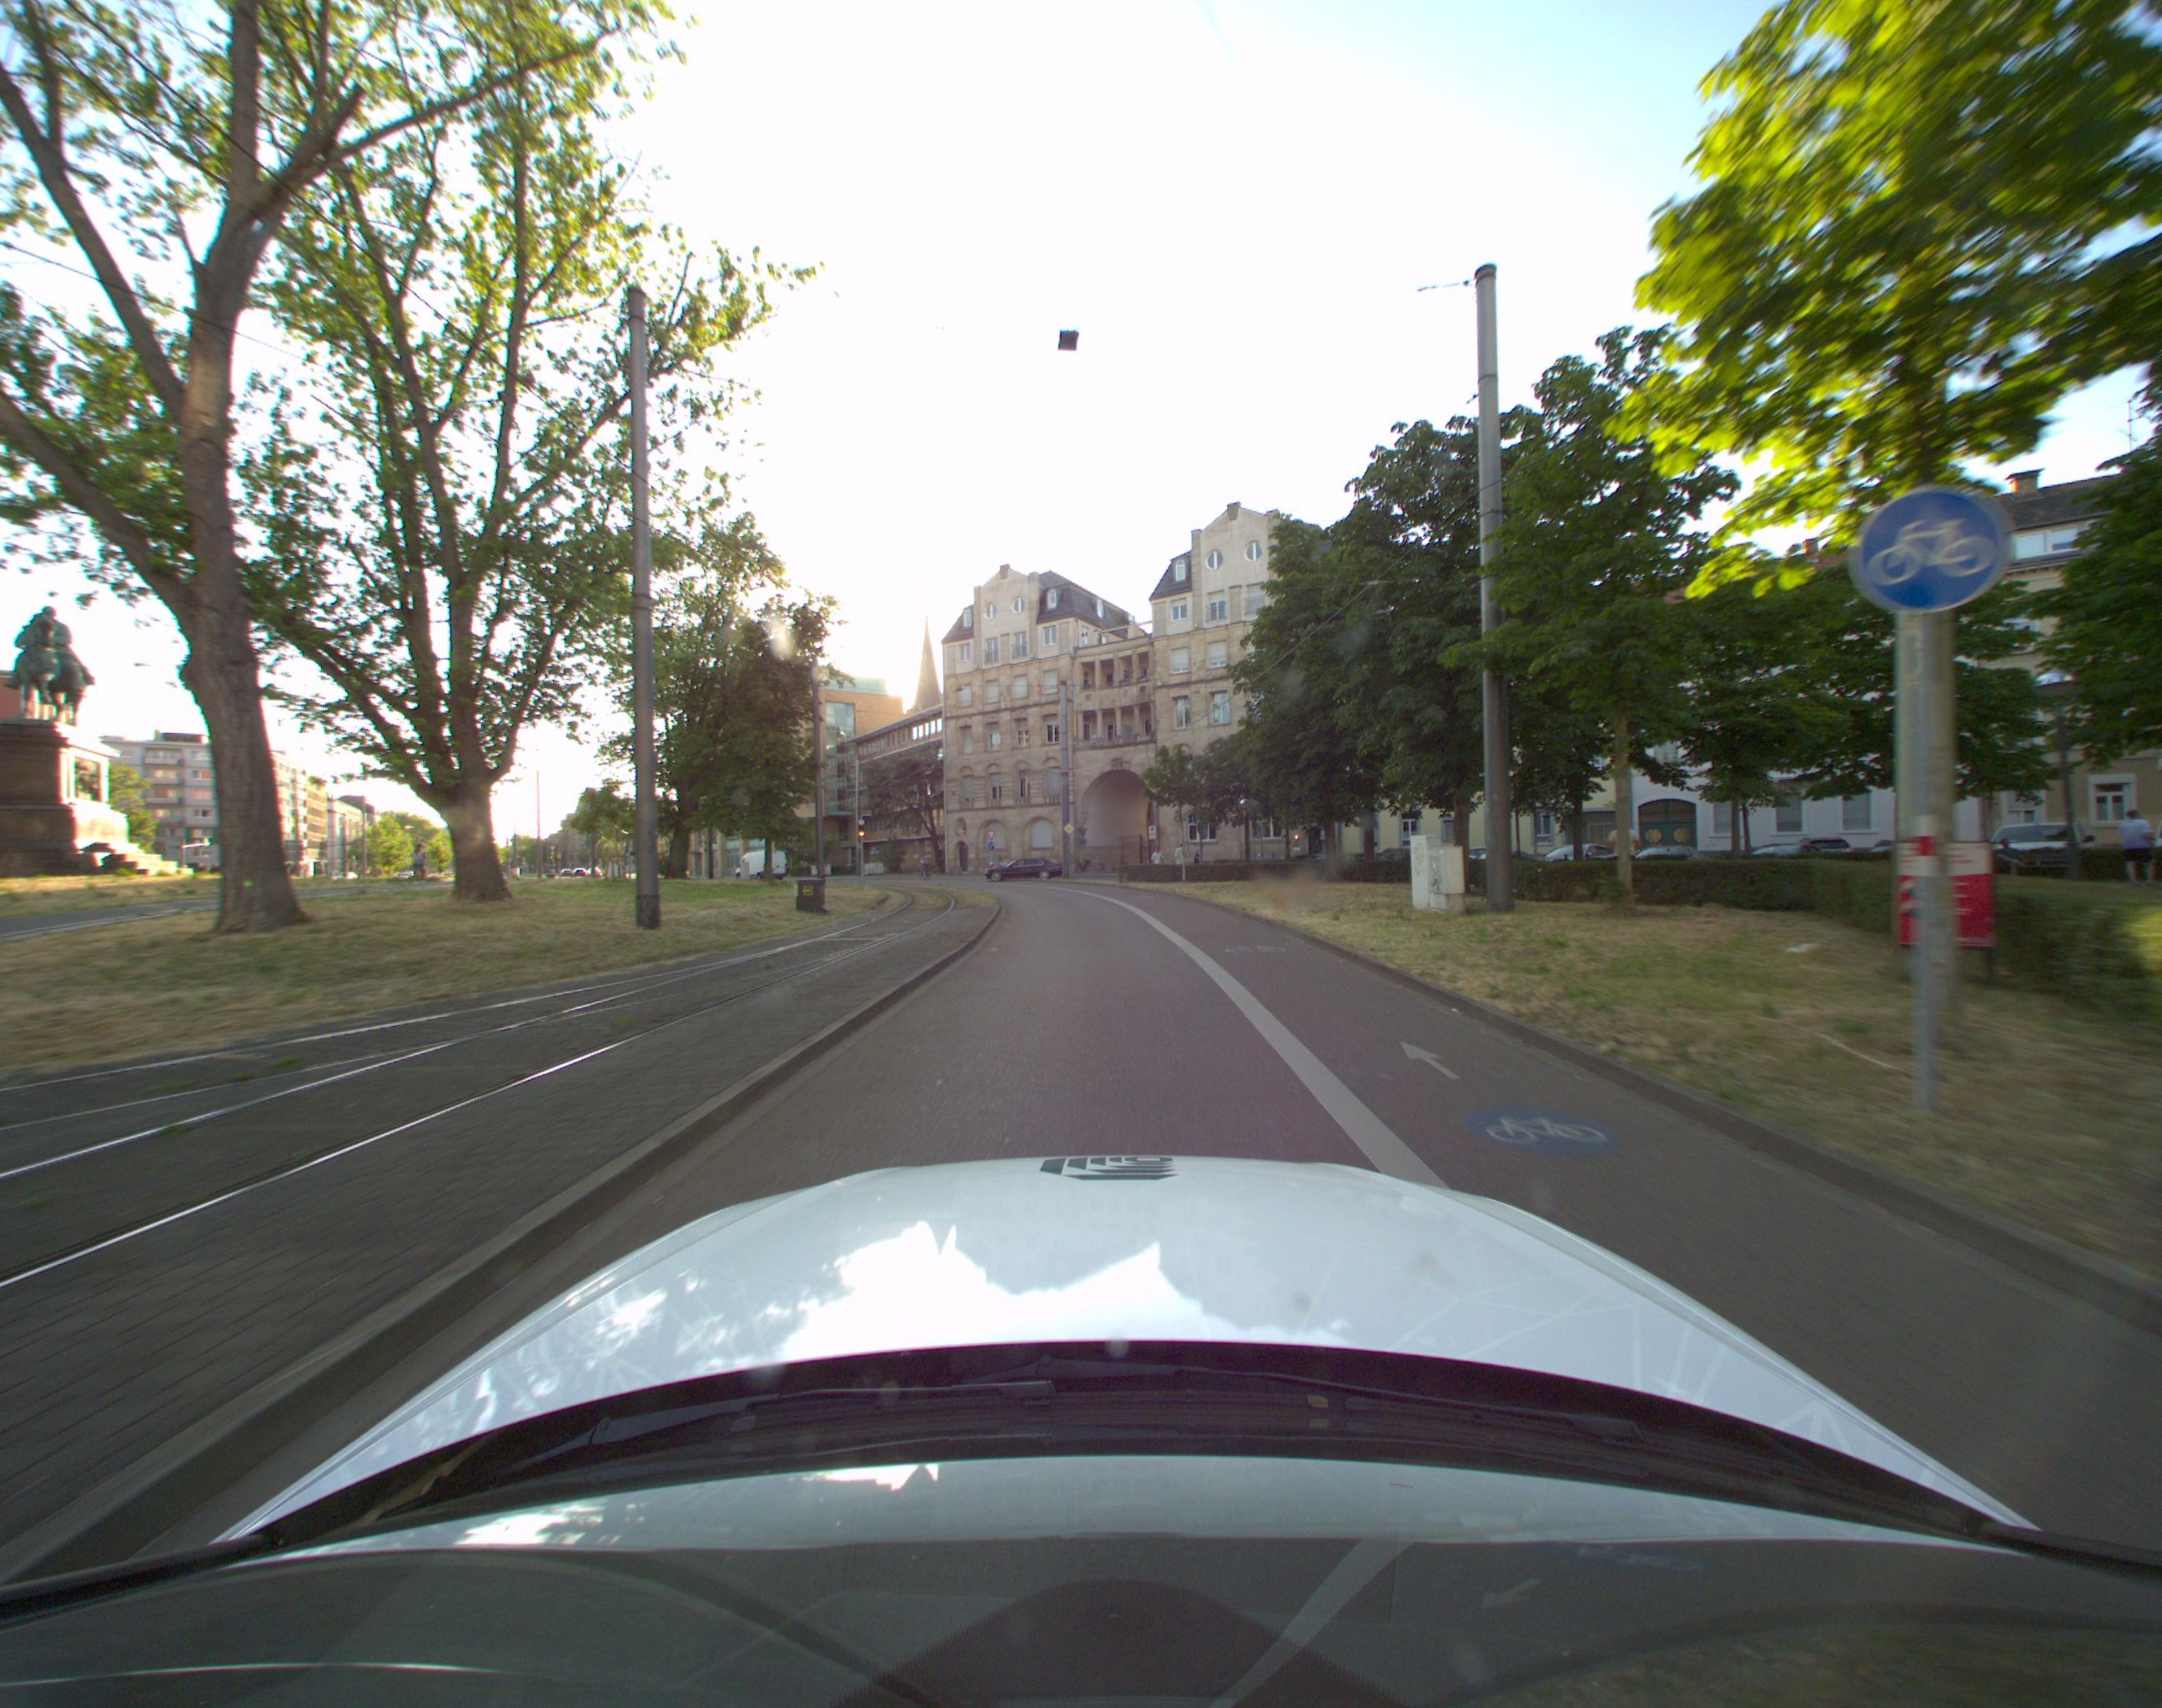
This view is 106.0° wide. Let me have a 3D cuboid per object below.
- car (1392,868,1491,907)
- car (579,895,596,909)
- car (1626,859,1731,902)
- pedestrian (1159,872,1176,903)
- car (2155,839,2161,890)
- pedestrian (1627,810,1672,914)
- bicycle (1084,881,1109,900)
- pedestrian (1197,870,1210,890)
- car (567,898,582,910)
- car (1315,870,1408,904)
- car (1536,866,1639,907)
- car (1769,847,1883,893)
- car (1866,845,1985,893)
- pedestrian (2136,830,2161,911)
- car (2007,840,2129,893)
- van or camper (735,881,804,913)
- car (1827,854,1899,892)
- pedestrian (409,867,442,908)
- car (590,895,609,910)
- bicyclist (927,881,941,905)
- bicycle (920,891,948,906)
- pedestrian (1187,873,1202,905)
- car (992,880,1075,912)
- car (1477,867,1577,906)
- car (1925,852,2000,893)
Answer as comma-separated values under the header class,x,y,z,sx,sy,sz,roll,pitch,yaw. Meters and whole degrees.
class,x,y,z,sx,sy,sz,roll,pitch,yaw
car,15.088,1.386,33.990,4.349,1.426,1.841,0,-3,-37
car,-80.598,7.801,133.035,2.154,2.014,3.957,0,-1,-35
car,21.621,0.927,29.431,4.349,1.426,1.841,0,-1,-37
pedestrian,4.250,1.643,39.924,0.586,1.511,0.691,-2,-2,31
car,32.357,0.247,23.321,4.349,1.426,1.841,0,-3,-37
pedestrian,11.329,0.157,16.228,0.642,2.014,0.823,-2,-2,37
bicycle,1.214,2.840,63.480,0.616,1.407,2.427,-2,-1,37
pedestrian,8.332,1.762,55.355,0.678,1.368,0.639,-2,-2,33
car,-92.698,9.074,148.909,2.154,2.014,3.957,0,-1,-35
car,12.911,1.503,37.395,4.349,1.426,1.841,0,-3,-37
car,19.502,1.235,31.326,4.349,1.426,1.841,0,-3,-37
car,25.712,0.538,28.070,4.486,1.426,1.842,-1,-3,-34
car,27.232,0.469,26.223,4.486,1.426,1.842,-1,-3,-34
pedestrian,23.786,0.342,17.747,0.760,1.749,1.013,-2,-2,43
car,29.812,0.364,24.565,4.486,1.426,1.842,-1,-3,-34
van or camper,-26.329,3.630,68.739,6.238,2.472,2.632,-2,-1,39
car,34.276,0.822,35.659,4.022,1.564,1.976,0,-2,-43
pedestrian,-26.280,1.328,32.645,0.632,1.606,0.774,-2,-1,12
car,-71.214,7.110,120.324,2.154,2.014,3.957,0,-1,-35
bicyclist,-10.367,2.729,57.361,0.765,1.642,0.514,-2,-2,35
bicycle,-10.385,3.145,57.375,2.213,0.978,0.514,-2,-2,35
pedestrian,5.458,1.684,39.062,0.628,1.511,0.690,-2,-2,13
car,-2.859,2.509,49.251,4.731,1.762,1.823,-1,-1,5
car,18.076,1.303,32.939,4.349,1.426,1.841,0,-3,-37
car,36.396,0.737,33.652,4.022,1.564,1.976,0,-2,-43
